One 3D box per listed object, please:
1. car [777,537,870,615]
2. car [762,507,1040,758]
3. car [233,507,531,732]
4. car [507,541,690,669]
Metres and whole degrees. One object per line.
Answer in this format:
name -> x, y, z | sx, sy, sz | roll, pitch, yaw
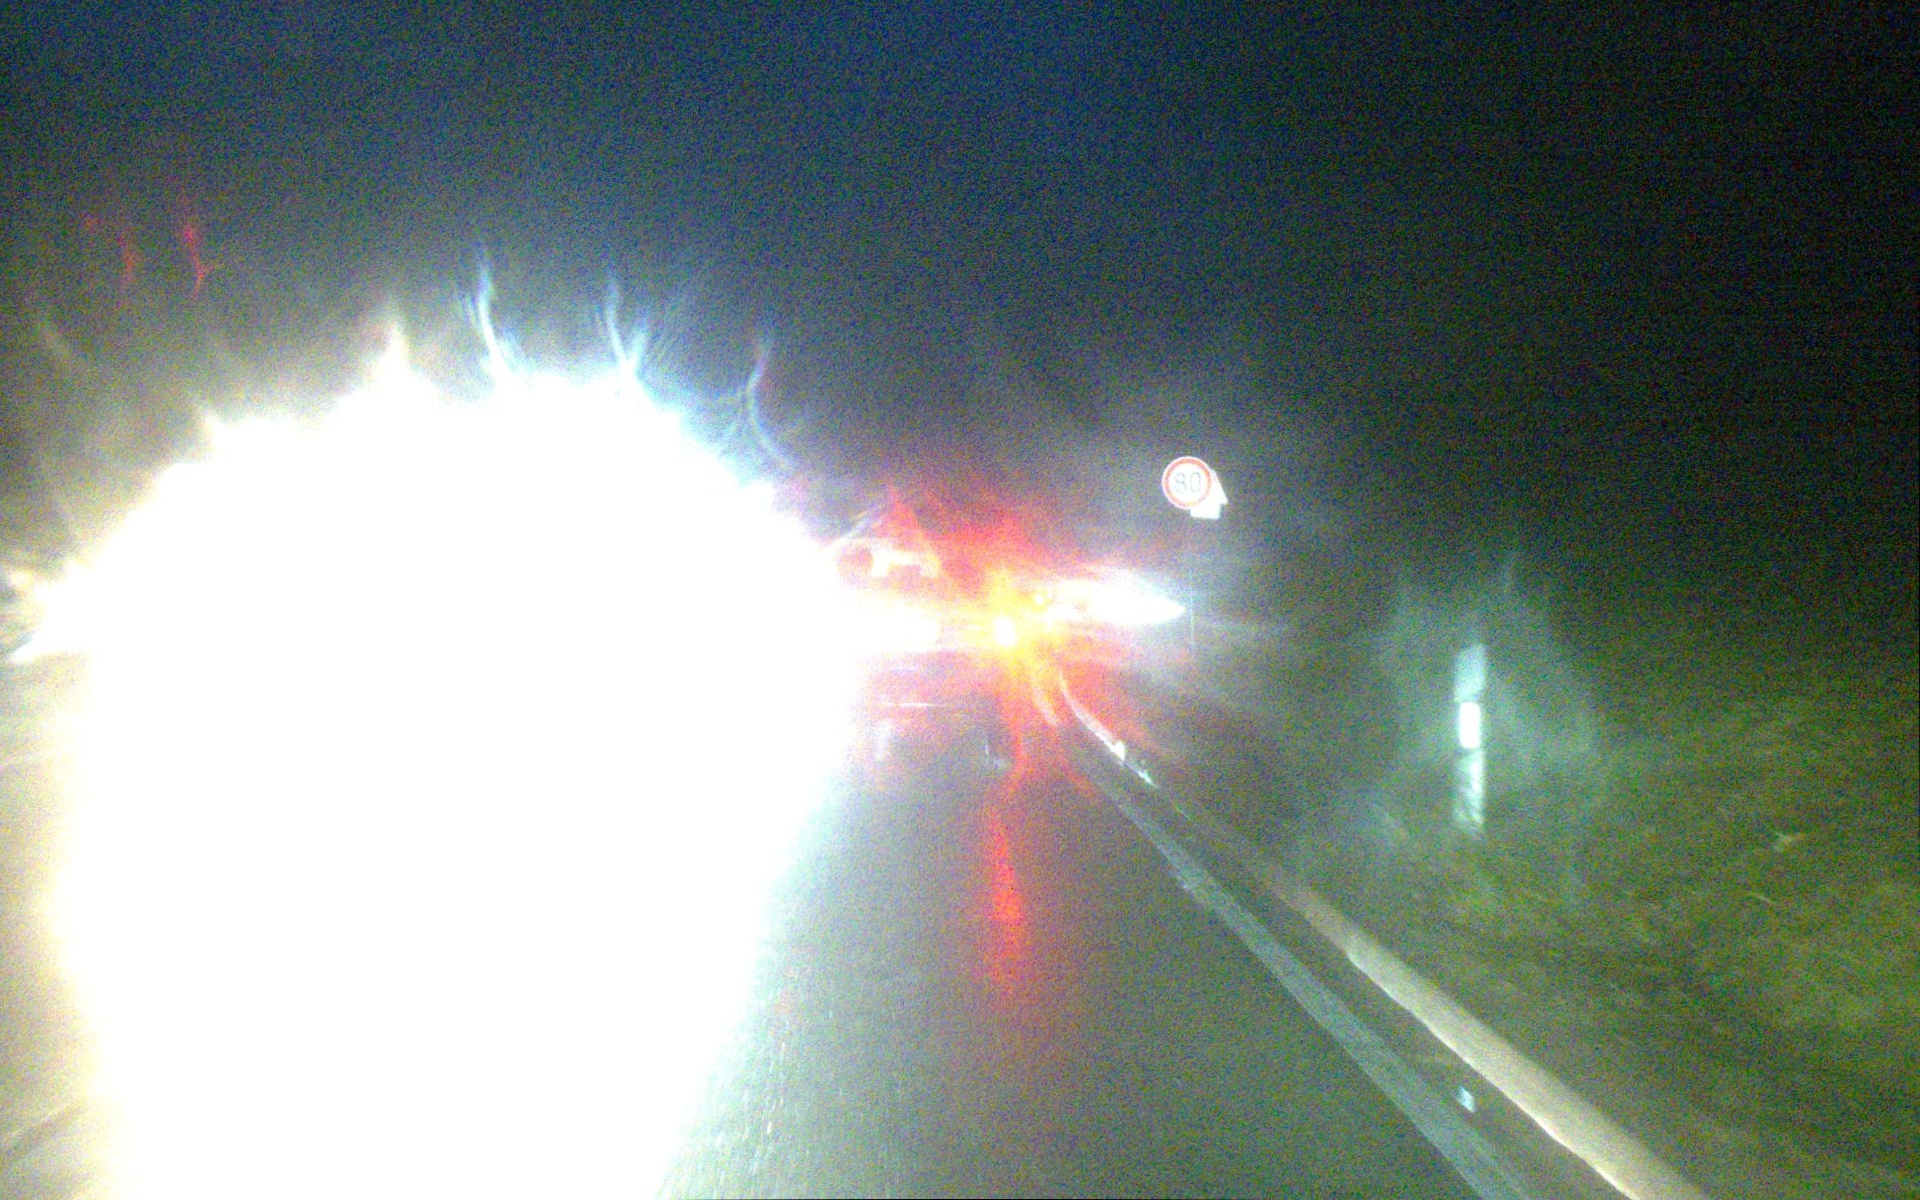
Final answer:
car -> -2.902, -0.538, 73.839 | 1.765, 1.537, 4.148 | 2, 1, 1
car -> -0.426, 0.206, 26.728 | 1.993, 1.801, 3.917 | 0, 1, 0
car -> -4.214, 0.095, 25.538 | 1.662, 1.555, 3.561 | 0, 1, -1
car -> -4.442, 0.020, 42.782 | 1.755, 1.401, 4.488 | 2, 2, 0
